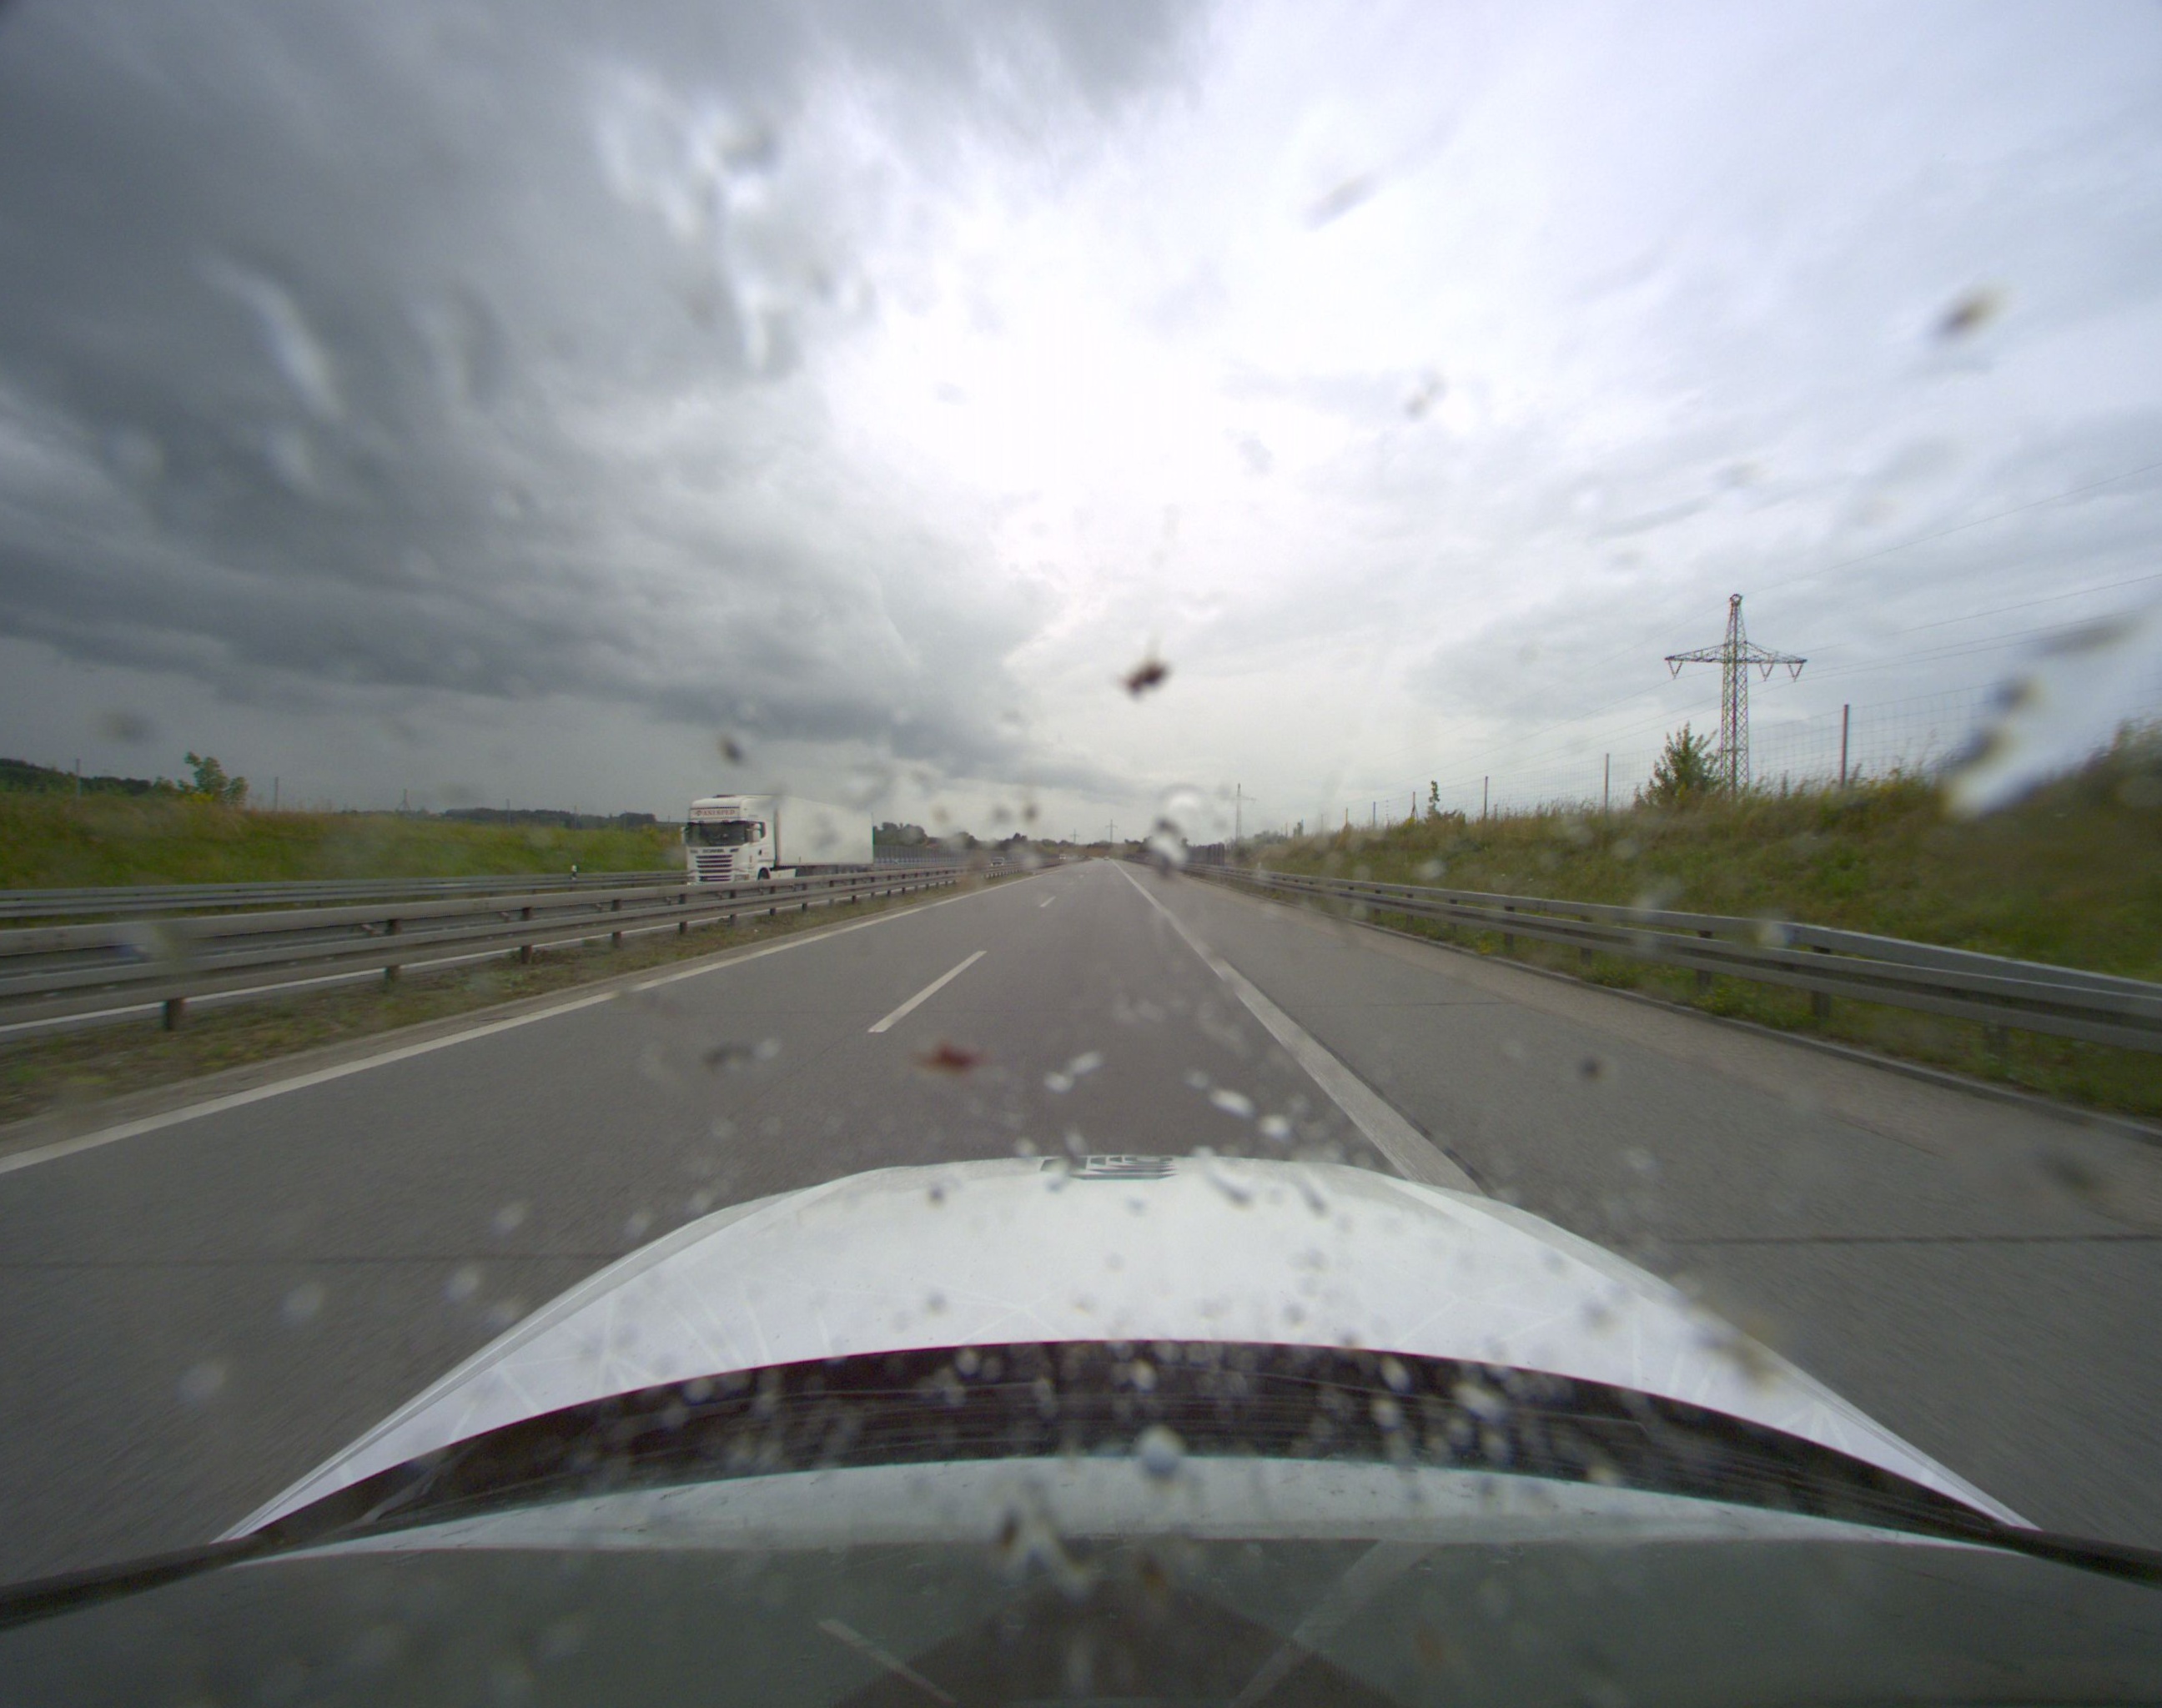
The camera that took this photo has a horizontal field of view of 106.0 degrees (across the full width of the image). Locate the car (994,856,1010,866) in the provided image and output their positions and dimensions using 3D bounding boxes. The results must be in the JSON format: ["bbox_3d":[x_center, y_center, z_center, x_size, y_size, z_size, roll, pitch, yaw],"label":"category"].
[{"bbox_3d":[-10.781,0.925,111.206,1.624,1.409,4.002,0,0,2],"label":"car"}]

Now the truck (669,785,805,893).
[{"bbox_3d":[-13.484,-0.549,32.468,2.941,3.925,5.520,0,0,2],"label":"truck"}]

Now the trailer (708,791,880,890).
[{"bbox_3d":[-13.240,-0.534,39.743,2.906,3.925,14.280,0,0,2],"label":"trailer"}]
